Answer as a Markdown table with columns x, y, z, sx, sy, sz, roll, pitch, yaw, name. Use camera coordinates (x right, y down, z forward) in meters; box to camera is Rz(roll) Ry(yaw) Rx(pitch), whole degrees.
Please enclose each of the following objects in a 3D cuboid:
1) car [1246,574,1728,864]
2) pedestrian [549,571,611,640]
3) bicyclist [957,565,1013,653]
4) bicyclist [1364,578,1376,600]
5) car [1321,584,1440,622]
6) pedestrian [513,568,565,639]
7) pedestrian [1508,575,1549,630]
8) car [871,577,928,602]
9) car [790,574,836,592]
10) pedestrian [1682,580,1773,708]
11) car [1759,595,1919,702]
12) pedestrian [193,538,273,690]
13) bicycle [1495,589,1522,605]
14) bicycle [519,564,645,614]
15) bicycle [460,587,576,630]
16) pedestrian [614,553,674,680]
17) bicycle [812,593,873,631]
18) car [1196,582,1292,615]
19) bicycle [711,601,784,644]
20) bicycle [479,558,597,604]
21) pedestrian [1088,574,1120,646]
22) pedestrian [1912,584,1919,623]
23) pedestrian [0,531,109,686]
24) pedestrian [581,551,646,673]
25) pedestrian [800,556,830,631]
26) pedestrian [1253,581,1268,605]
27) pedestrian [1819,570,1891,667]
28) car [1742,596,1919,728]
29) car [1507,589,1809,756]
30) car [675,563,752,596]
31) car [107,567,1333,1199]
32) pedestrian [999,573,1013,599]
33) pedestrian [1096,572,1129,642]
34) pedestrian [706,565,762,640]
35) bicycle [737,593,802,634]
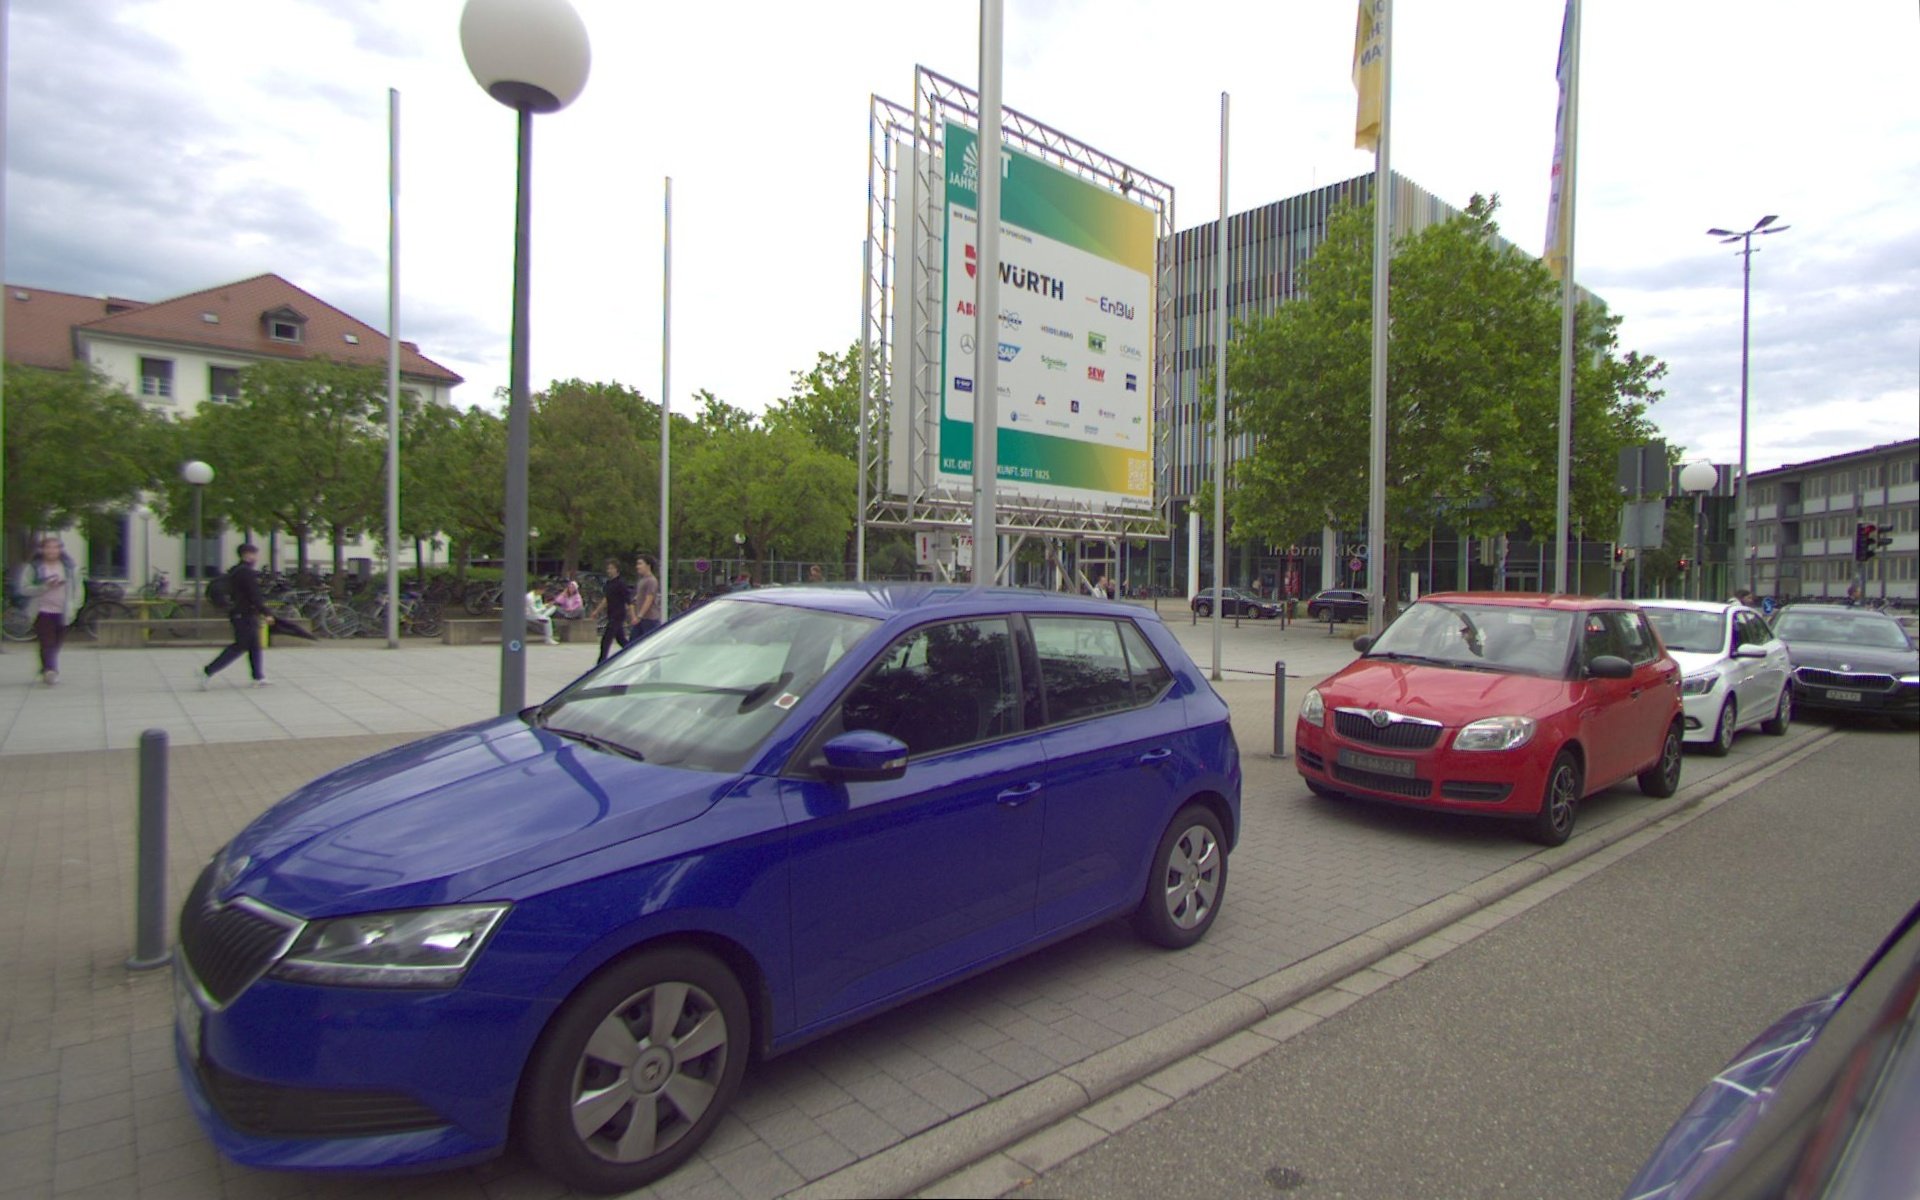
| x | y | z | sx | sy | sz | roll | pitch | yaw | name |
| --- | --- | --- | --- | --- | --- | --- | --- | --- | --- |
| 4.063 | 0.633 | 7.472 | 4.199 | 1.491 | 1.716 | 0 | 3 | -42 | car |
| -8.172 | 0.103 | 21.775 | 0.848 | 1.438 | 0.956 | 1 | 1 | 38 | pedestrian |
| 0.480 | 0.173 | 19.786 | 0.850 | 1.661 | 0.878 | 1 | 0 | -15 | bicyclist |
| 27.974 | -0.783 | 69.057 | 0.593 | 1.487 | 0.485 | 1 | 1 | -24 | bicyclist |
| 17.844 | 0.085 | 43.121 | 1.965 | 1.508 | 4.285 | -1 | 1 | -41 | car |
| -8.688 | 0.061 | 20.903 | 0.664 | 1.431 | 0.765 | 1 | 1 | 17 | pedestrian |
| 17.178 | 0.072 | 30.572 | 0.777 | 1.647 | 0.759 | 0 | 1 | -27 | pedestrian |
| -4.225 | -0.728 | 70.111 | 1.964 | 1.638 | 4.191 | 0 | 1 | -38 | car |
| -12.730 | -1.463 | 87.525 | 1.965 | 1.486 | 4.221 | 3 | -1 | -41 | car |
| 11.298 | 0.617 | 14.901 | 0.805 | 1.809 | 0.794 | 0 | 1 | -29 | pedestrian |
| 15.335 | 0.738 | 17.481 | 4.034 | 1.520 | 1.626 | -1 | 4 | -41 | car |
| -8.445 | 0.146 | 11.754 | 0.693 | 1.690 | 0.757 | 0 | 1 | -40 | pedestrian |
| 34.559 | -0.178 | 63.745 | 0.538 | 0.947 | 2.011 | 1 | 1 | -2 | bicycle |
| -10.055 | -0.268 | 27.025 | 3.052 | 1.185 | 0.747 | 3 | -2 | -40 | bicycle |
| -13.192 | 0.280 | 30.285 | 3.052 | 1.185 | 0.747 | 3 | -2 | -40 | bicycle |
| -4.430 | 0.214 | 14.233 | 0.635 | 1.734 | 0.783 | 1 | 1 | -5 | pedestrian |
| -3.421 | 0.348 | 29.686 | 0.456 | 1.062 | 1.904 | 2 | 1 | 44 | bicycle |
| 13.599 | -0.096 | 48.587 | 1.967 | 1.471 | 3.990 | 0 | 2 | -44 | car |
| -5.490 | 0.569 | 26.261 | 0.456 | 1.062 | 1.904 | 2 | 1 | 44 | bicycle |
| -12.284 | -0.529 | 29.565 | 3.052 | 1.185 | 0.747 | 3 | -2 | -40 | bicycle |
| 3.564 | 0.225 | 24.964 | 0.580 | 1.737 | 0.651 | 1 | 1 | 28 | pedestrian |
| 42.386 | 0.153 | 44.436 | 0.607 | 1.687 | 0.624 | 0 | 0 | 4 | pedestrian |
| -10.251 | 0.109 | 11.424 | 0.915 | 1.662 | 0.736 | 3 | -2 | -41 | pedestrian |
| -5.176 | 0.163 | 15.159 | 0.680 | 1.734 | 0.911 | 3 | 1 | -7 | pedestrian |
| -3.647 | -0.168 | 25.478 | 0.660 | 1.856 | 0.511 | 1 | 1 | -1 | pedestrian |
| 22.502 | -0.528 | 75.757 | 0.788 | 1.810 | 0.762 | 0 | 2 | -40 | pedestrian |
| 18.558 | 0.364 | 21.004 | 0.742 | 1.976 | 0.795 | 1 | 1 | -13 | pedestrian |
| 11.996 | 0.721 | 13.759 | 1.855 | 1.418 | 4.422 | 4 | 3 | 35 | car |
| 7.720 | 0.639 | 11.067 | 3.792 | 1.471 | 1.864 | 0 | 1 | -42 | car |
| -13.921 | -1.173 | 57.319 | 1.985 | 1.774 | 4.020 | 1 | 2 | 32 | car |
| -0.373 | 0.627 | 3.856 | 4.305 | 1.429 | 1.696 | -1 | 2 | -45 | car |
| 3.318 | -1.017 | 72.312 | 0.794 | 1.832 | 0.588 | 0 | 1 | -37 | pedestrian |
| 3.877 | 0.157 | 25.730 | 0.666 | 1.737 | 0.673 | 1 | 1 | 24 | pedestrian |
| -5.360 | 0.041 | 24.009 | 0.846 | 1.725 | 0.958 | 2 | 1 | 32 | pedestrian |
| -5.055 | 0.346 | 26.973 | 0.454 | 1.062 | 1.911 | 2 | 1 | 35 | bicycle |
